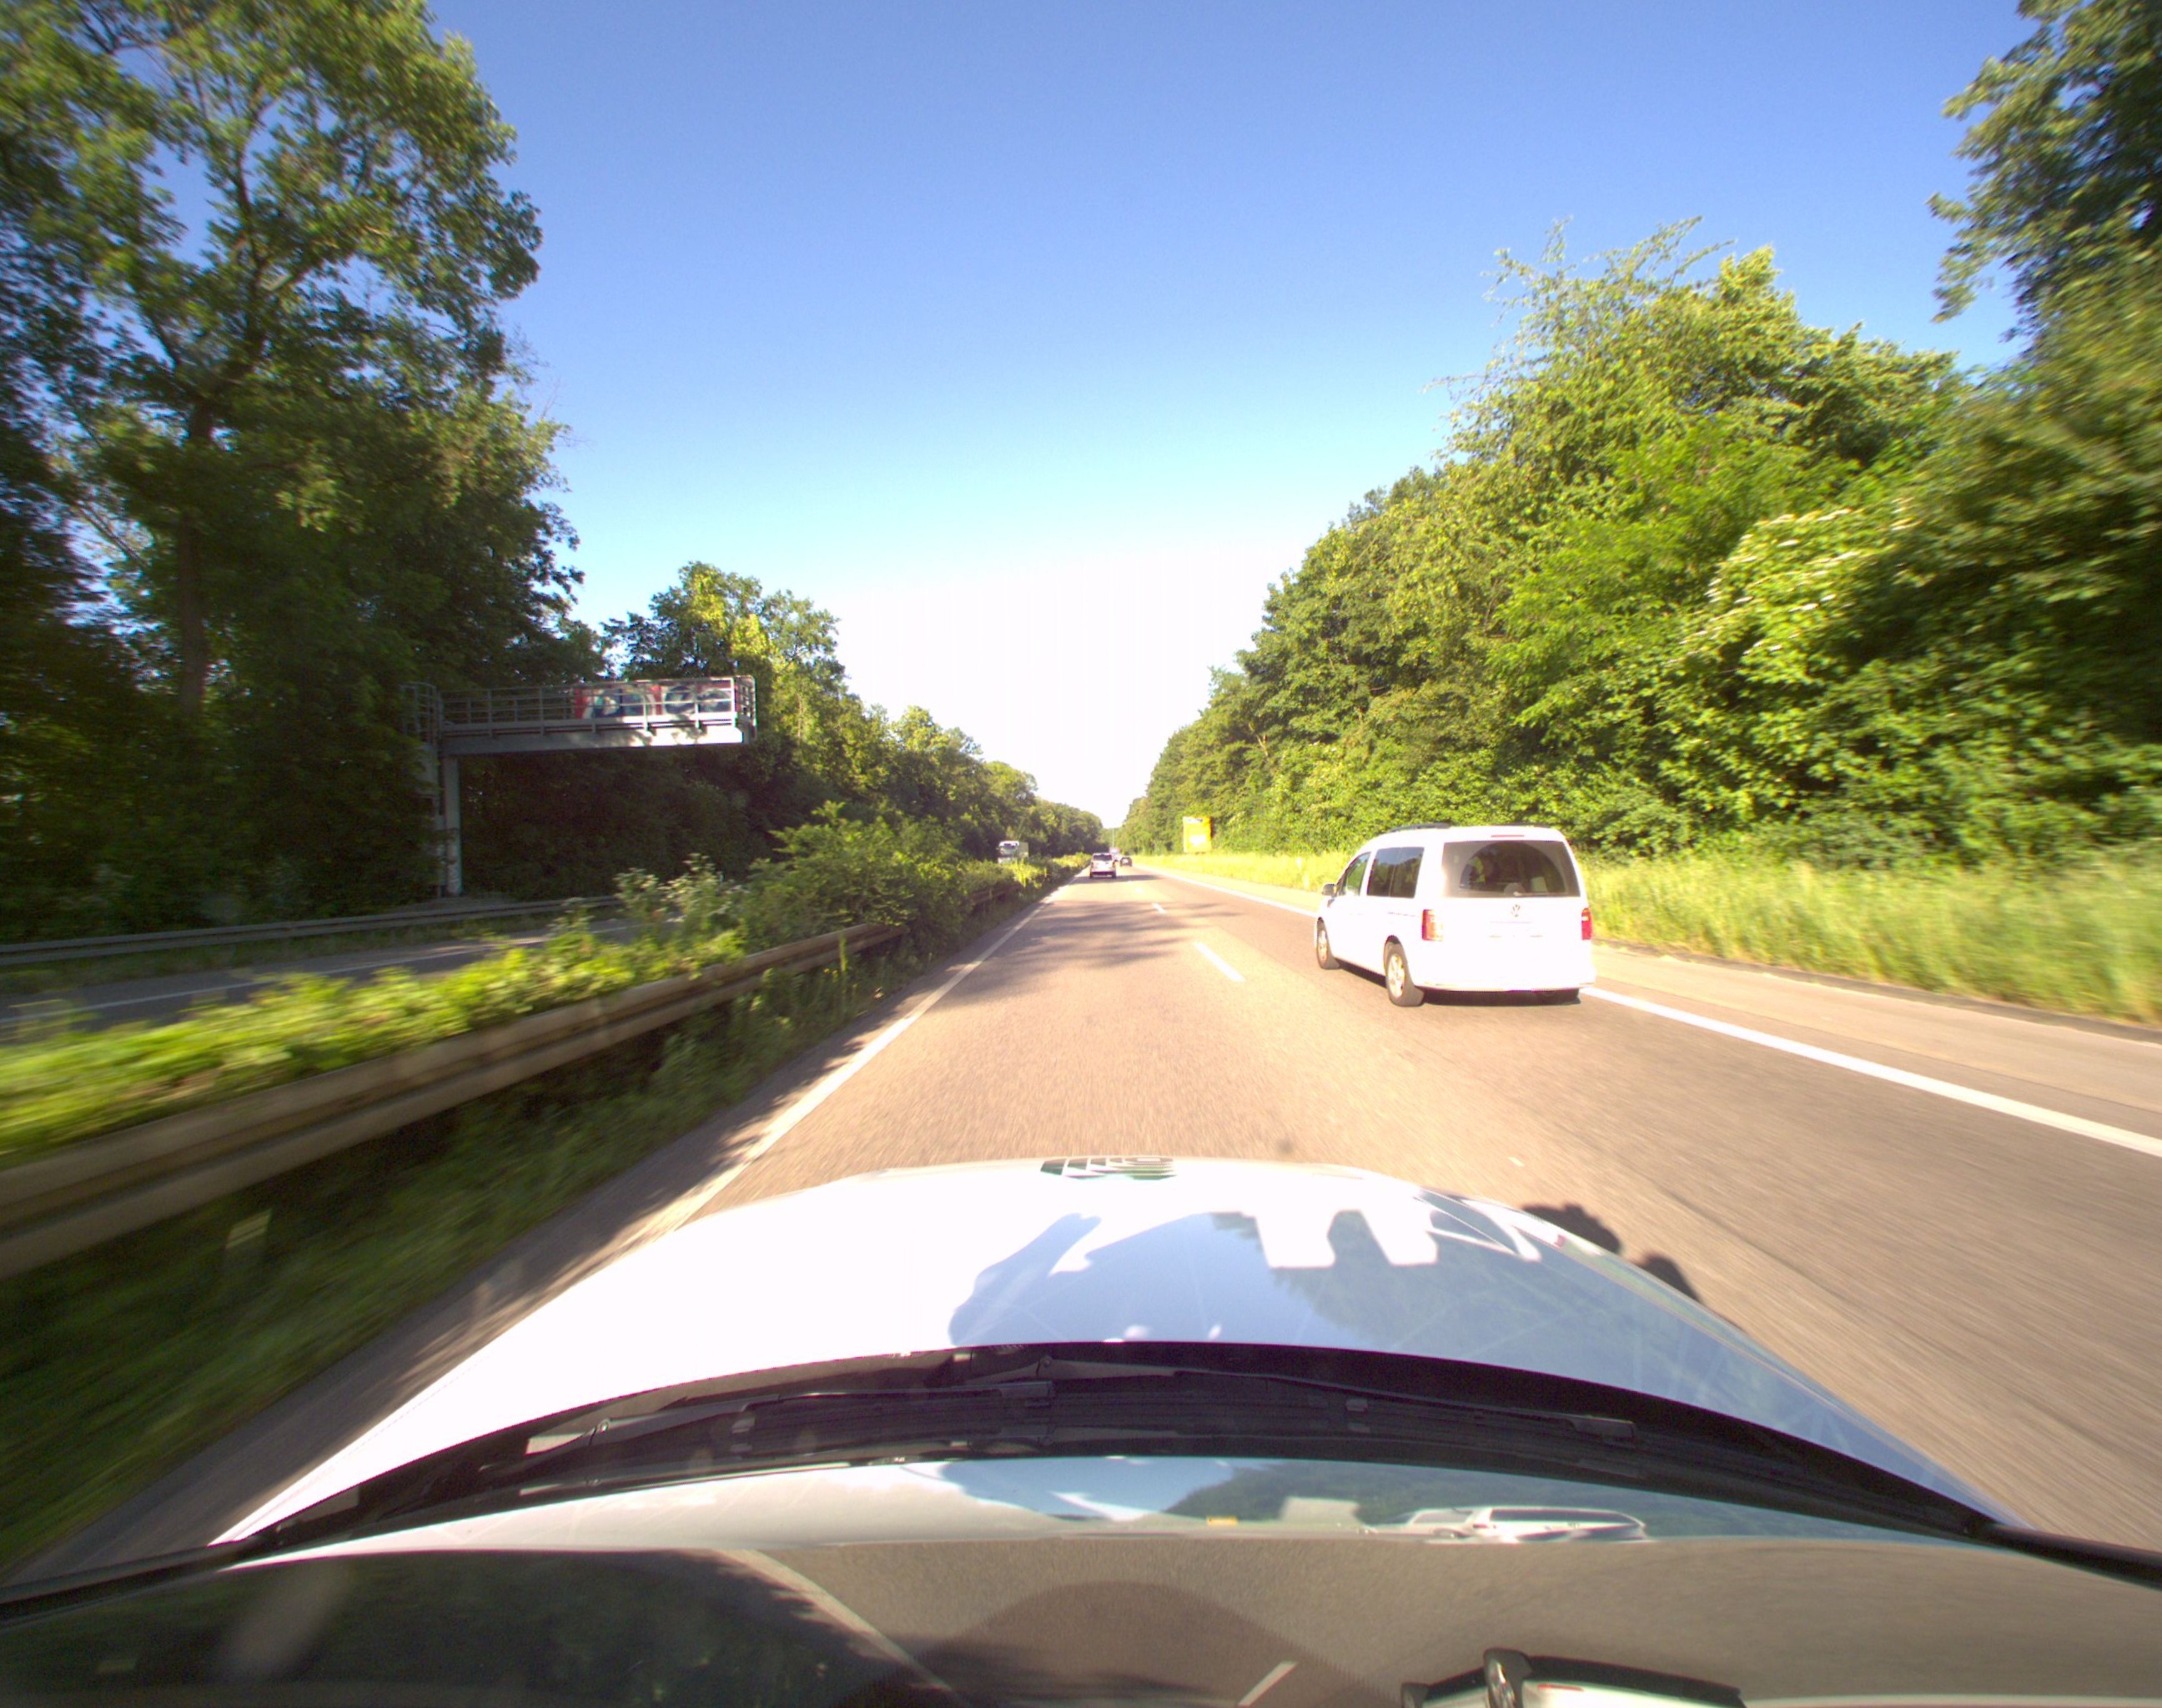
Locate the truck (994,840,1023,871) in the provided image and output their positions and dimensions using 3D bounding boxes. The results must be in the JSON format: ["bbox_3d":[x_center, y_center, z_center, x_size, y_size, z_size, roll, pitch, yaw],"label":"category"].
[{"bbox_3d":[-9.517,0.191,107.504,3.217,4.013,5.678,0,0,1],"label":"truck"}]

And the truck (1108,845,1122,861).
[{"bbox_3d":[9.738,-0.194,233.471,3.720,4.343,9.307,0,-1,2],"label":"truck"}]

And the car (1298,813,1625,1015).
[{"bbox_3d":[4.043,0.566,9.650,1.792,1.813,4.588,0,-1,1],"label":"car"}]

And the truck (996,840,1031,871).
[{"bbox_3d":[-9.331,0.200,114.537,3.231,4.013,14.455,0,0,1],"label":"truck"}]

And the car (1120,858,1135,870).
[{"bbox_3d":[6.945,1.509,121.769,1.944,1.782,4.588,0,-1,1],"label":"car"}]

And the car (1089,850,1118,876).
[{"bbox_3d":[1.559,0.629,57.633,1.944,1.782,4.588,0,-1,1],"label":"car"}]
